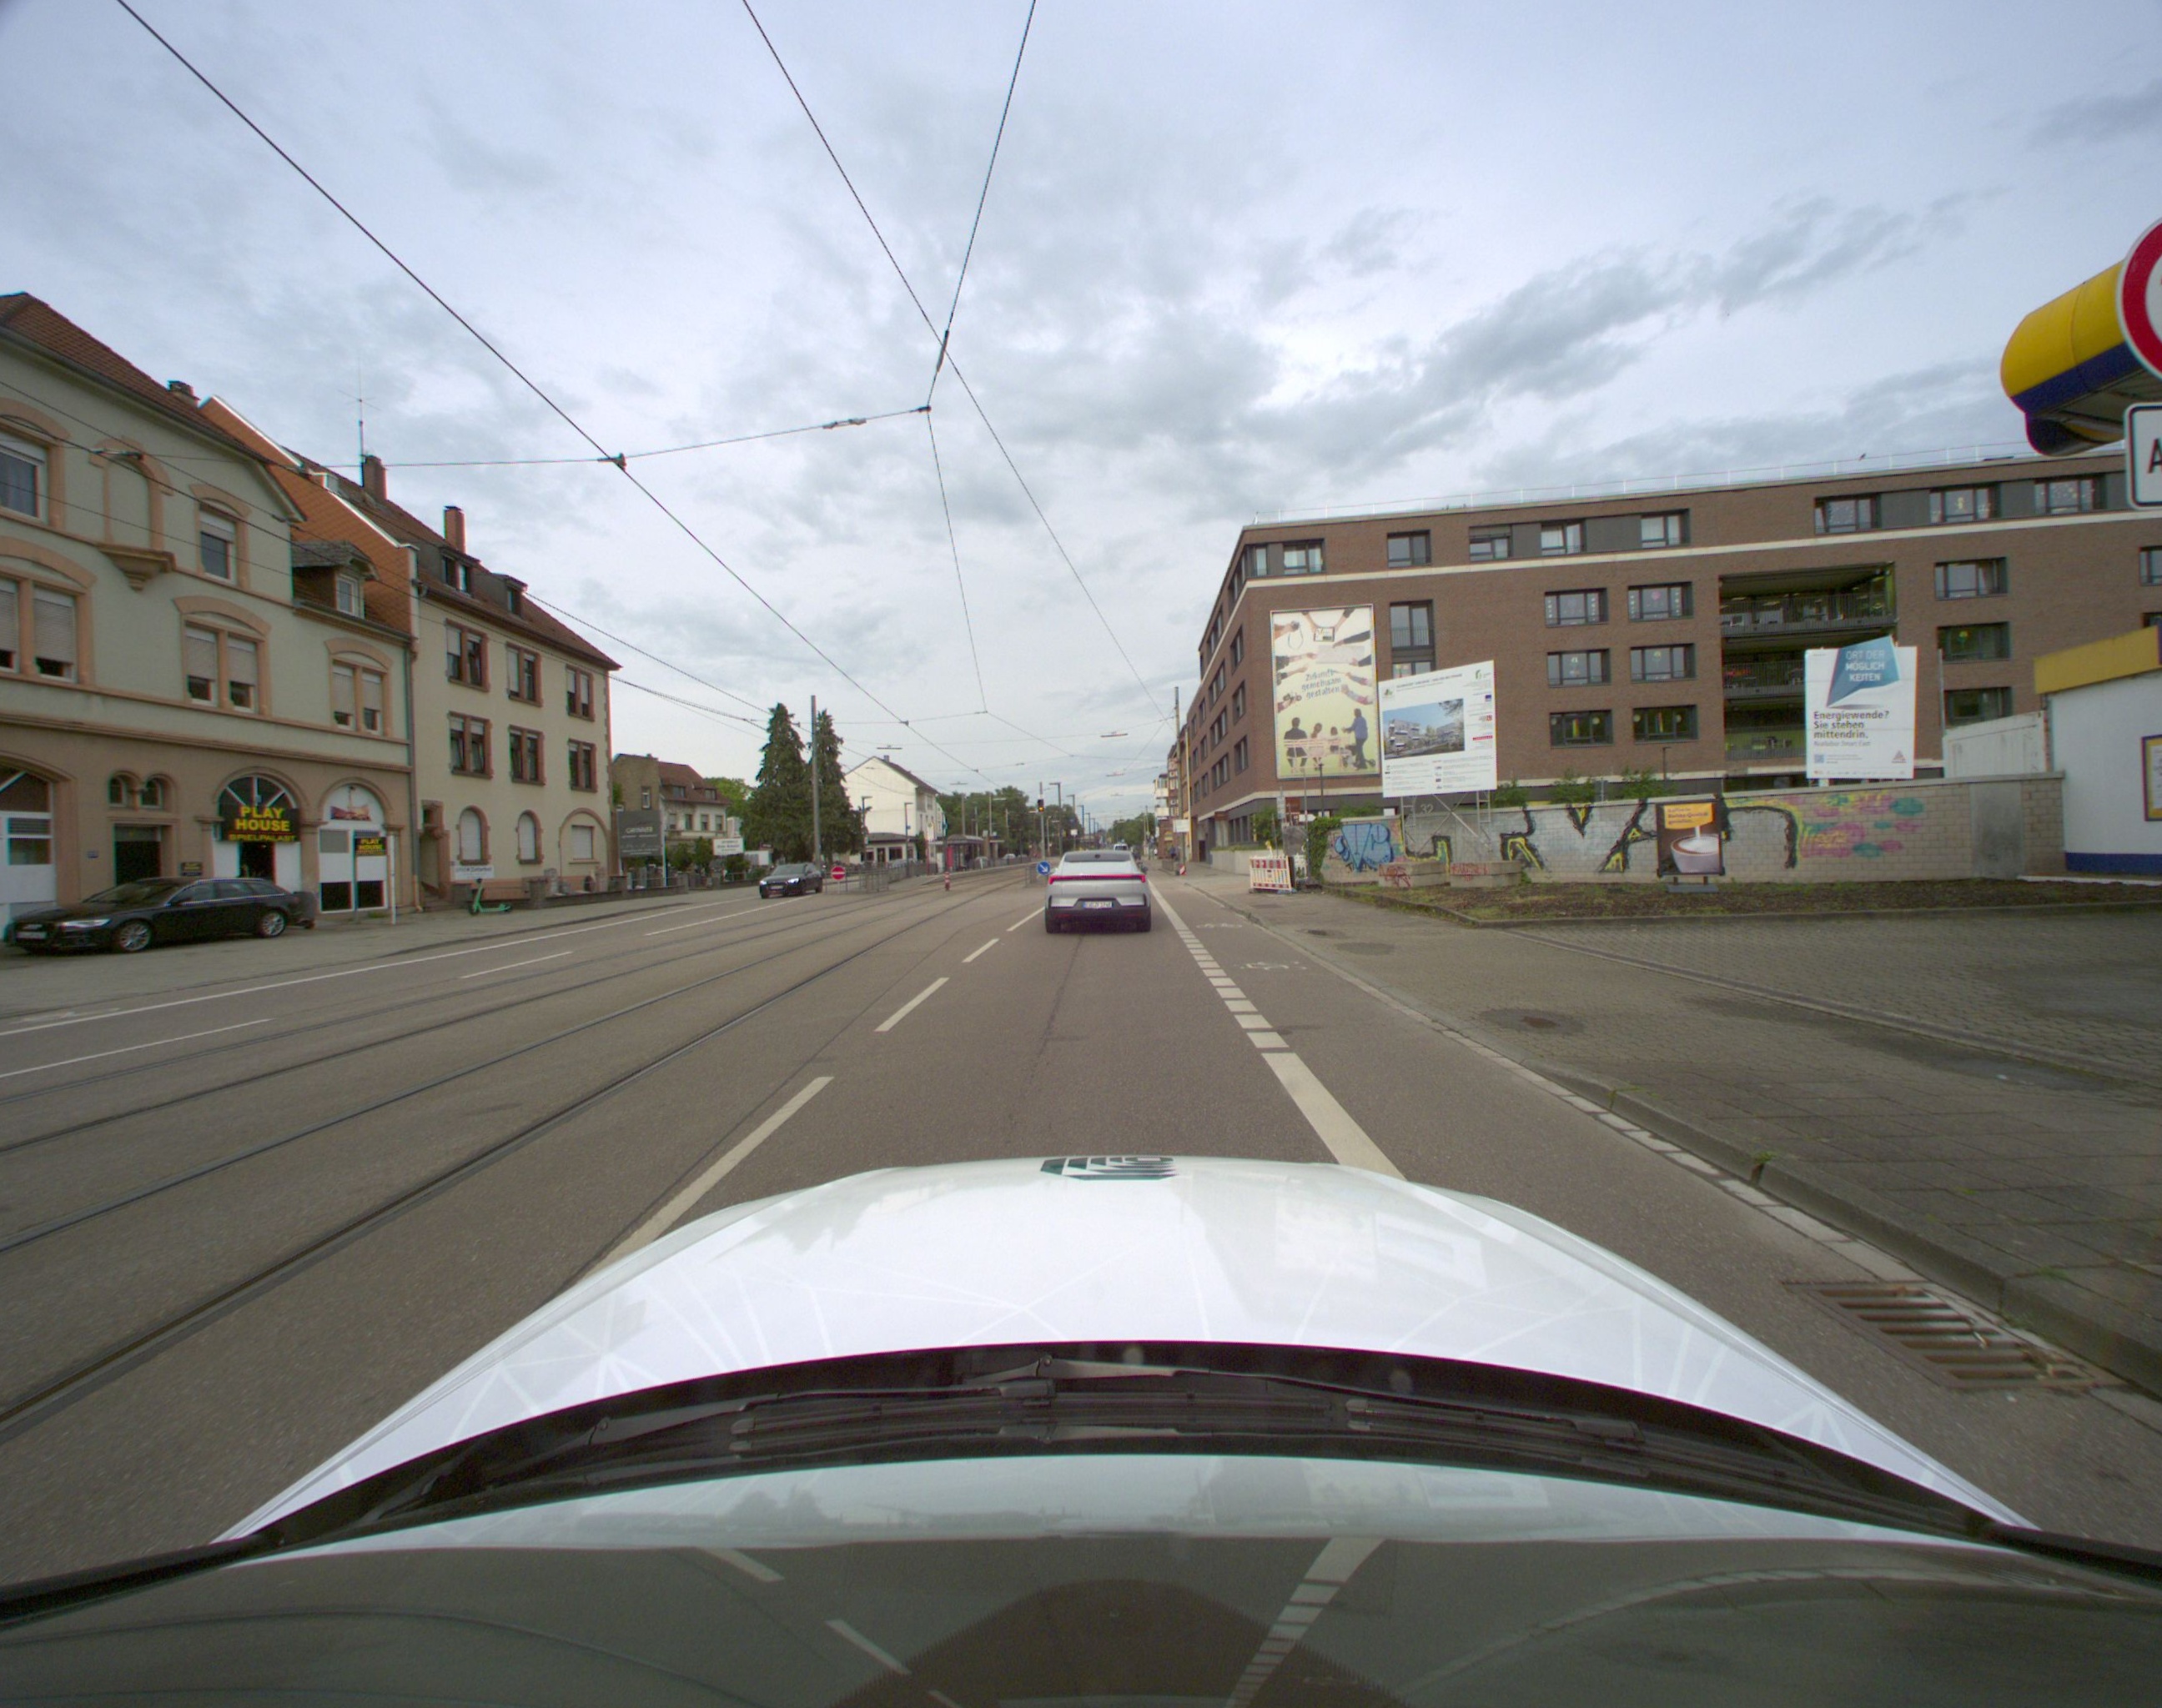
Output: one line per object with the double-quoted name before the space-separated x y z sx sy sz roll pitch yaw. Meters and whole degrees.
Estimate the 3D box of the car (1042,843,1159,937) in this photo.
"car" 0.296 0.631 16.131 1.994 1.581 3.997 -1 0 -2

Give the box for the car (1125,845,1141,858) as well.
"car" 8.341 -0.341 130.394 1.981 2.013 4.011 -1 0 9

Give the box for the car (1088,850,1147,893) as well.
"car" 1.348 0.605 30.710 1.986 1.419 4.002 -3 0 2

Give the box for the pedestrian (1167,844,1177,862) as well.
"pedestrian" 9.859 -0.129 88.143 0.955 1.850 0.978 -4 1 9

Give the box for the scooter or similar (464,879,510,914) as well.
"scooter or similar" -19.771 1.411 27.125 1.182 1.102 0.522 -1 -1 -31

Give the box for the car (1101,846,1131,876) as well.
"car" 2.093 0.410 48.615 1.674 1.687 3.827 -1 0 3

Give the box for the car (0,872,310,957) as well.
"car" -20.286 1.206 17.933 1.988 1.493 4.899 1 0 -2

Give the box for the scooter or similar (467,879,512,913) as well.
"scooter or similar" -20.183 1.424 27.808 1.182 1.102 0.522 -1 -1 -31

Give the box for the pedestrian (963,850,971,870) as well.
"pedestrian" -9.383 0.501 67.020 0.614 1.664 0.696 -1 -1 -5

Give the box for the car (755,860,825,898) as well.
"car" -12.871 1.050 36.273 1.903 1.472 4.806 -4 0 -8

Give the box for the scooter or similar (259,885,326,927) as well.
"scooter or similar" -20.923 1.378 21.630 1.172 1.102 0.527 0 -1 -6

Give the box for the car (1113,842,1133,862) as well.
"car" 5.426 -0.245 106.040 2.219 2.402 5.121 -1 0 0
